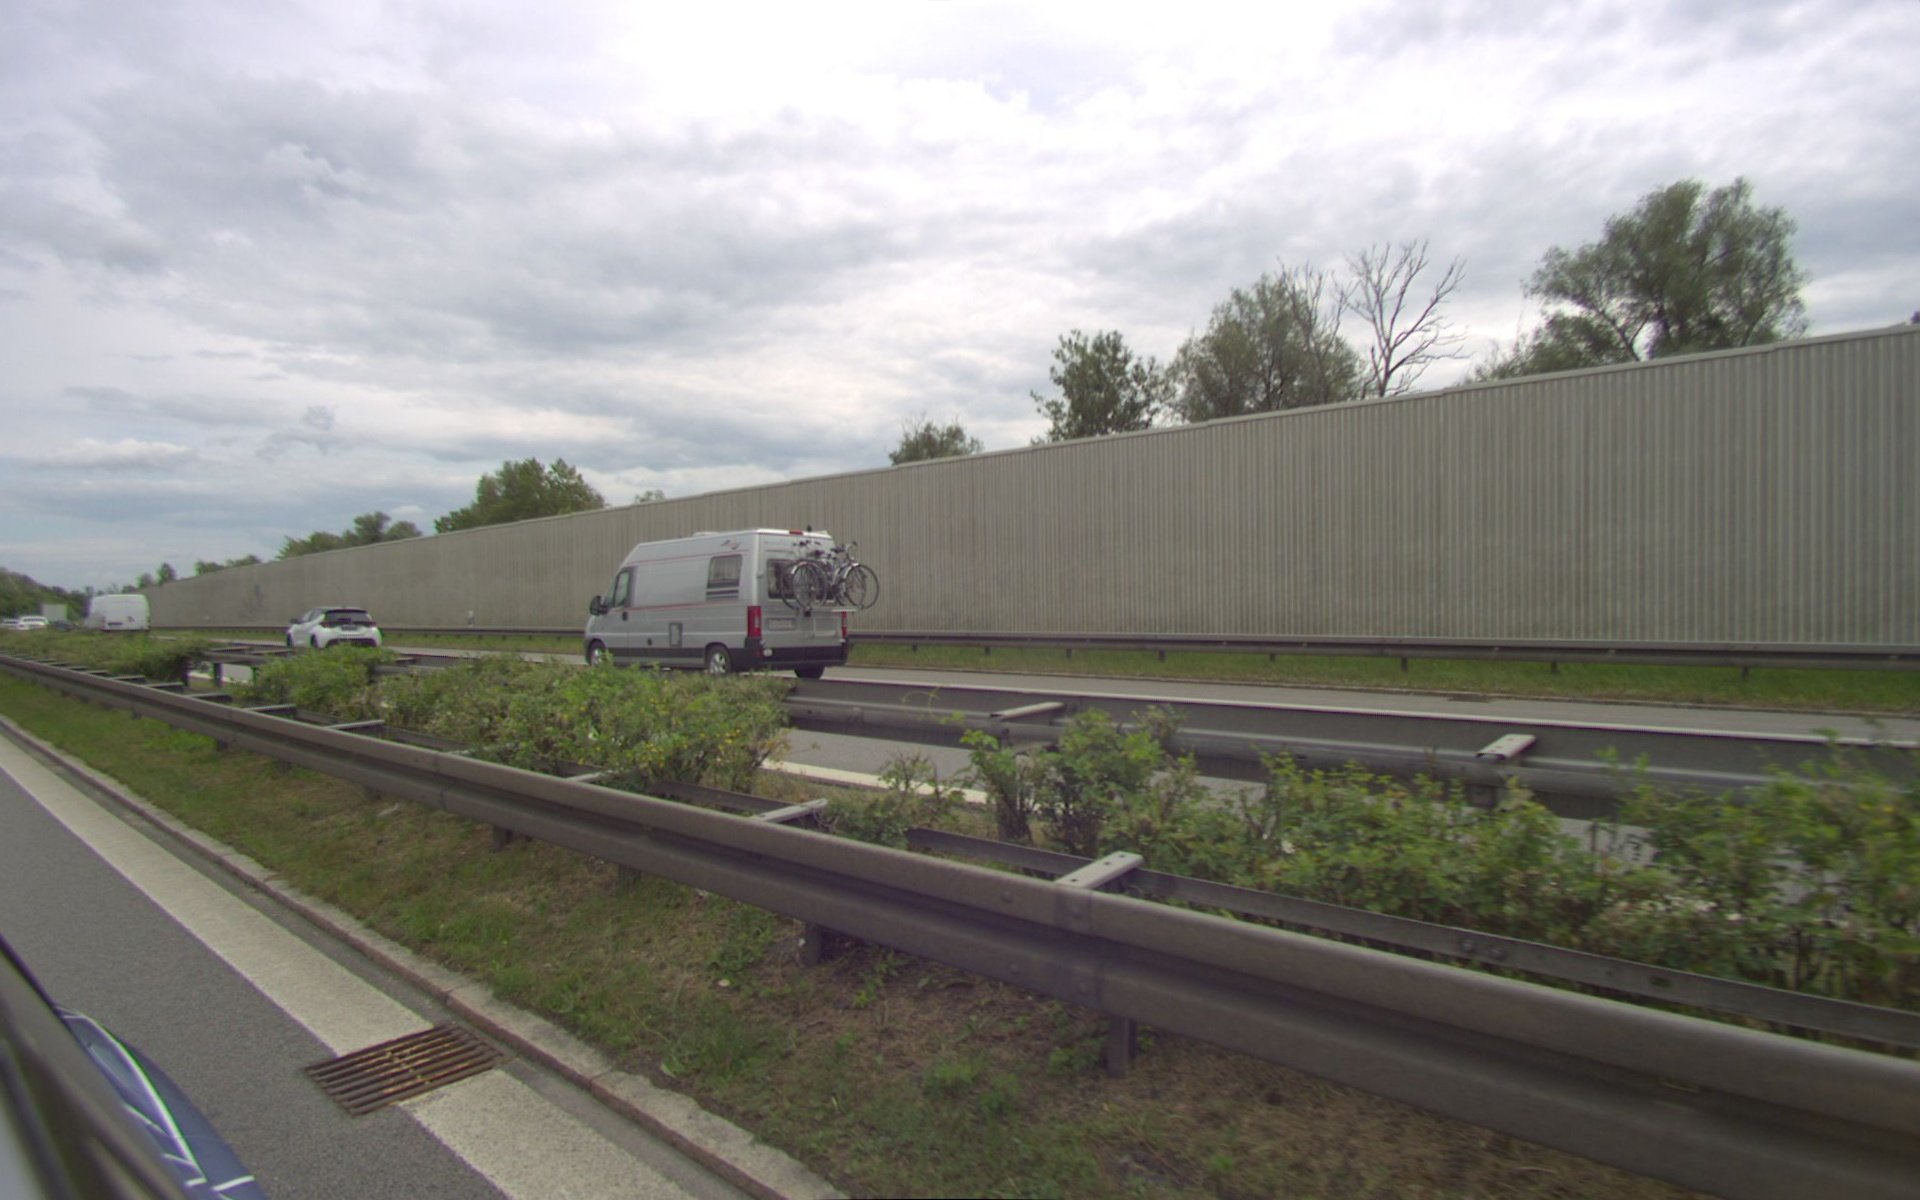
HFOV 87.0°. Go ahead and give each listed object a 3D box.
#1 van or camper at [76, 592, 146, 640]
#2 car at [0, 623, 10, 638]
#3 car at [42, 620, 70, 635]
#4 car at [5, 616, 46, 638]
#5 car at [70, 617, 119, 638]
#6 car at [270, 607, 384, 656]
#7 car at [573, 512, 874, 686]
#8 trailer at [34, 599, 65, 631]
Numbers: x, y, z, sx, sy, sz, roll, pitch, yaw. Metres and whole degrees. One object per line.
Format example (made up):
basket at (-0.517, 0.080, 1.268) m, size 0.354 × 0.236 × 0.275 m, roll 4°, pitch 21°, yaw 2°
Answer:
van or camper at (-46.062, 0.874, 54.856) m, size 6.306 × 2.460 × 1.973 m, roll -1°, pitch -2°, yaw 41°
car at (-115.268, 3.662, 121.271) m, size 4.926 × 1.682 × 1.942 m, roll -1°, pitch 0°, yaw 45°
car at (-87.441, 2.643, 97.884) m, size 4.556 × 1.428 × 1.703 m, roll -1°, pitch -1°, yaw 44°
car at (-64.701, 1.855, 70.055) m, size 4.968 × 1.425 × 1.785 m, roll -1°, pitch 0°, yaw 43°
car at (-58.628, 1.845, 68.516) m, size 4.968 × 1.375 × 1.972 m, roll -1°, pitch 0°, yaw 43°
car at (-19.767, 0.961, 31.516) m, size 4.498 × 1.414 × 1.845 m, roll -1°, pitch -2°, yaw 42°
car at (-4.161, 0.048, 17.096) m, size 5.681 × 2.474 × 2.089 m, roll -1°, pitch -2°, yaw 42°
trailer at (-128.637, 2.192, 142.869) m, size 2.946 × 4.272 × 14.193 m, roll 1°, pitch -2°, yaw -43°
